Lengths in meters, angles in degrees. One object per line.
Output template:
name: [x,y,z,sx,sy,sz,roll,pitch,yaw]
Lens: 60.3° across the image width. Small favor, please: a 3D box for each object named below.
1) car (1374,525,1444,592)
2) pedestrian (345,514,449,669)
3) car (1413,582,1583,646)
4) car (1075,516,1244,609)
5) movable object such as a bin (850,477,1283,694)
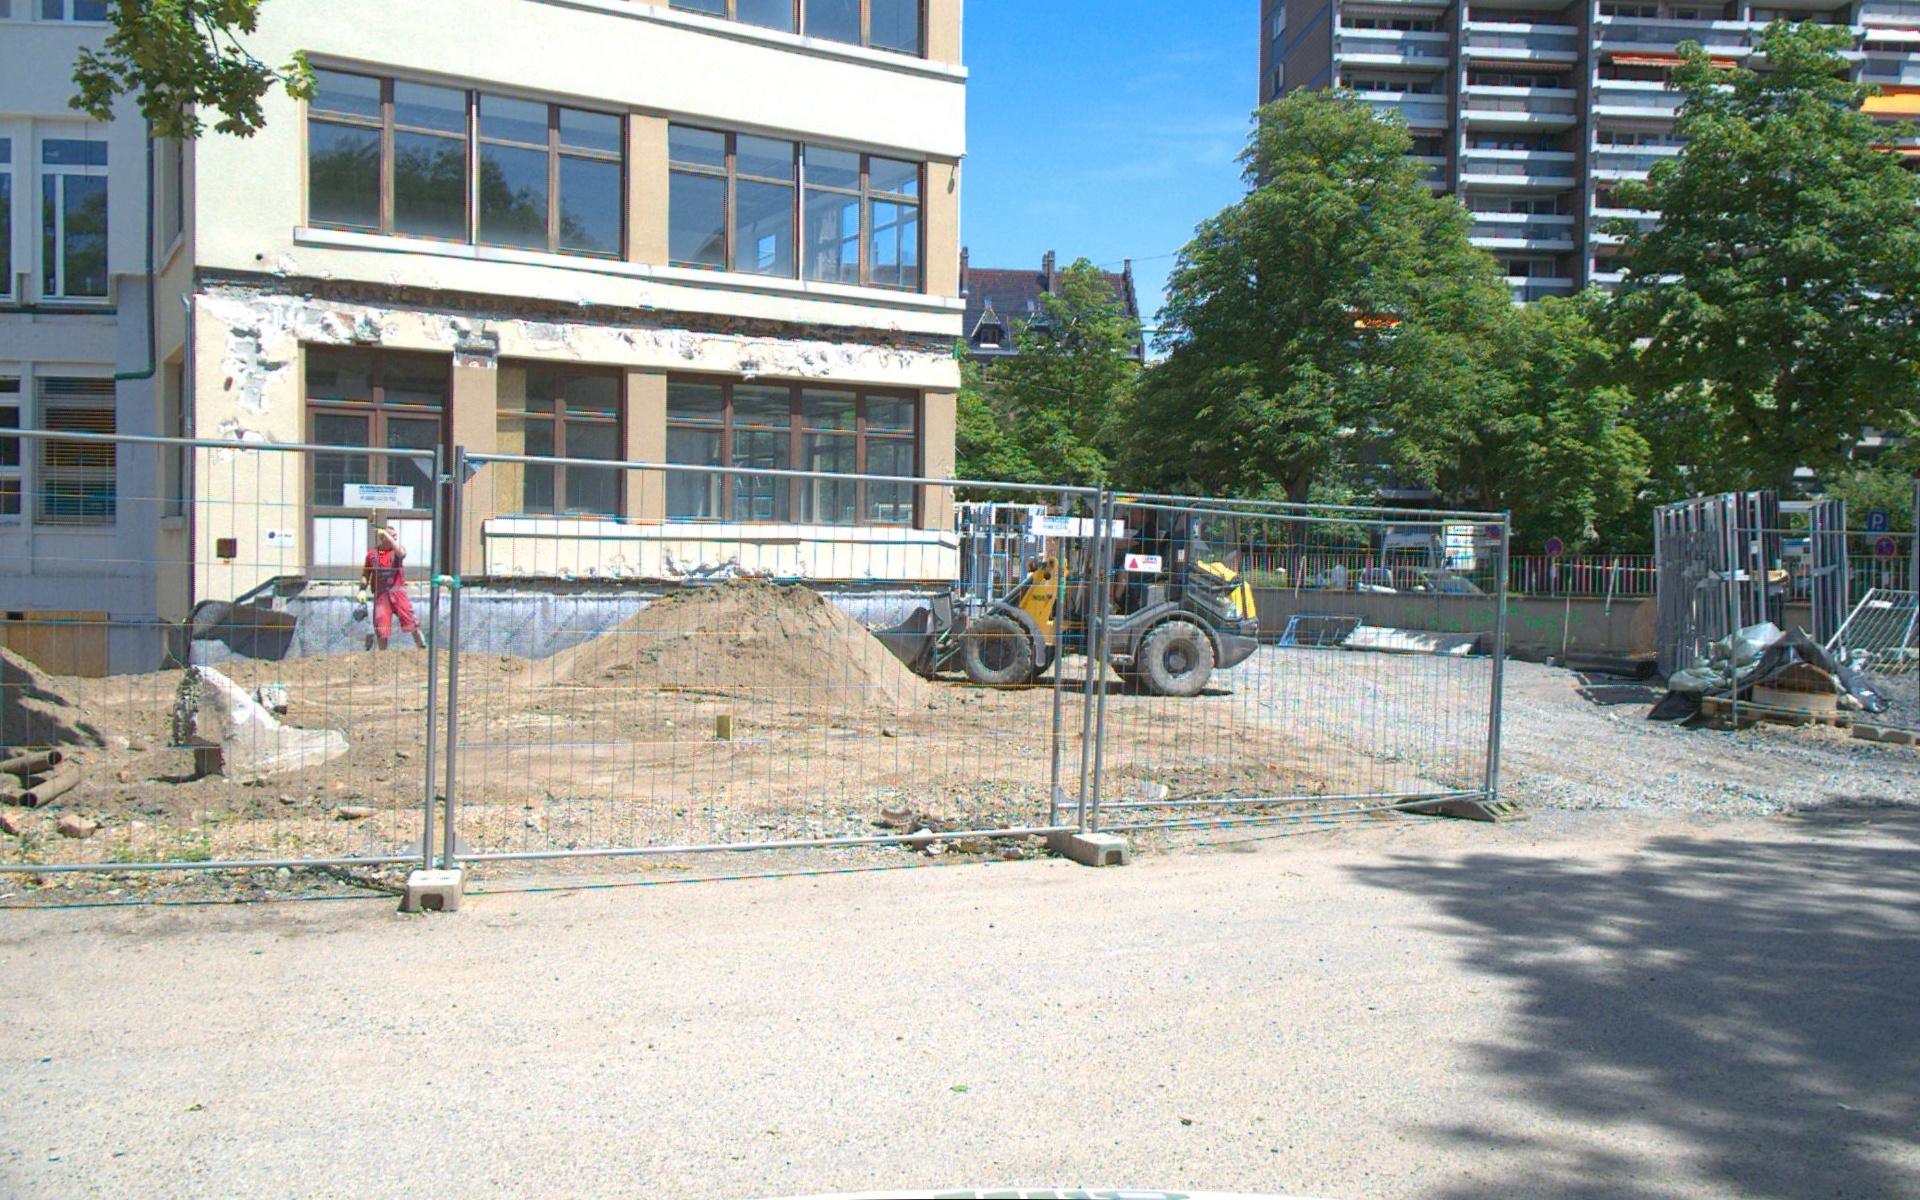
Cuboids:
car: [16.086,-1.466,59.100,2.138,2.297,4.871,1,1,18]
pedestrian: [-7.070,-0.113,20.778,0.977,1.879,0.903,0,1,-41]
car: [11.843,0.278,36.366,3.678,1.343,1.596,0,1,-33]
car: [5.525,-1.039,46.555,1.974,2.458,5.187,0,1,-31]
movable object such as a bin: [1.314,-0.208,21.716,5.293,2.507,2.368,2,1,-1]
